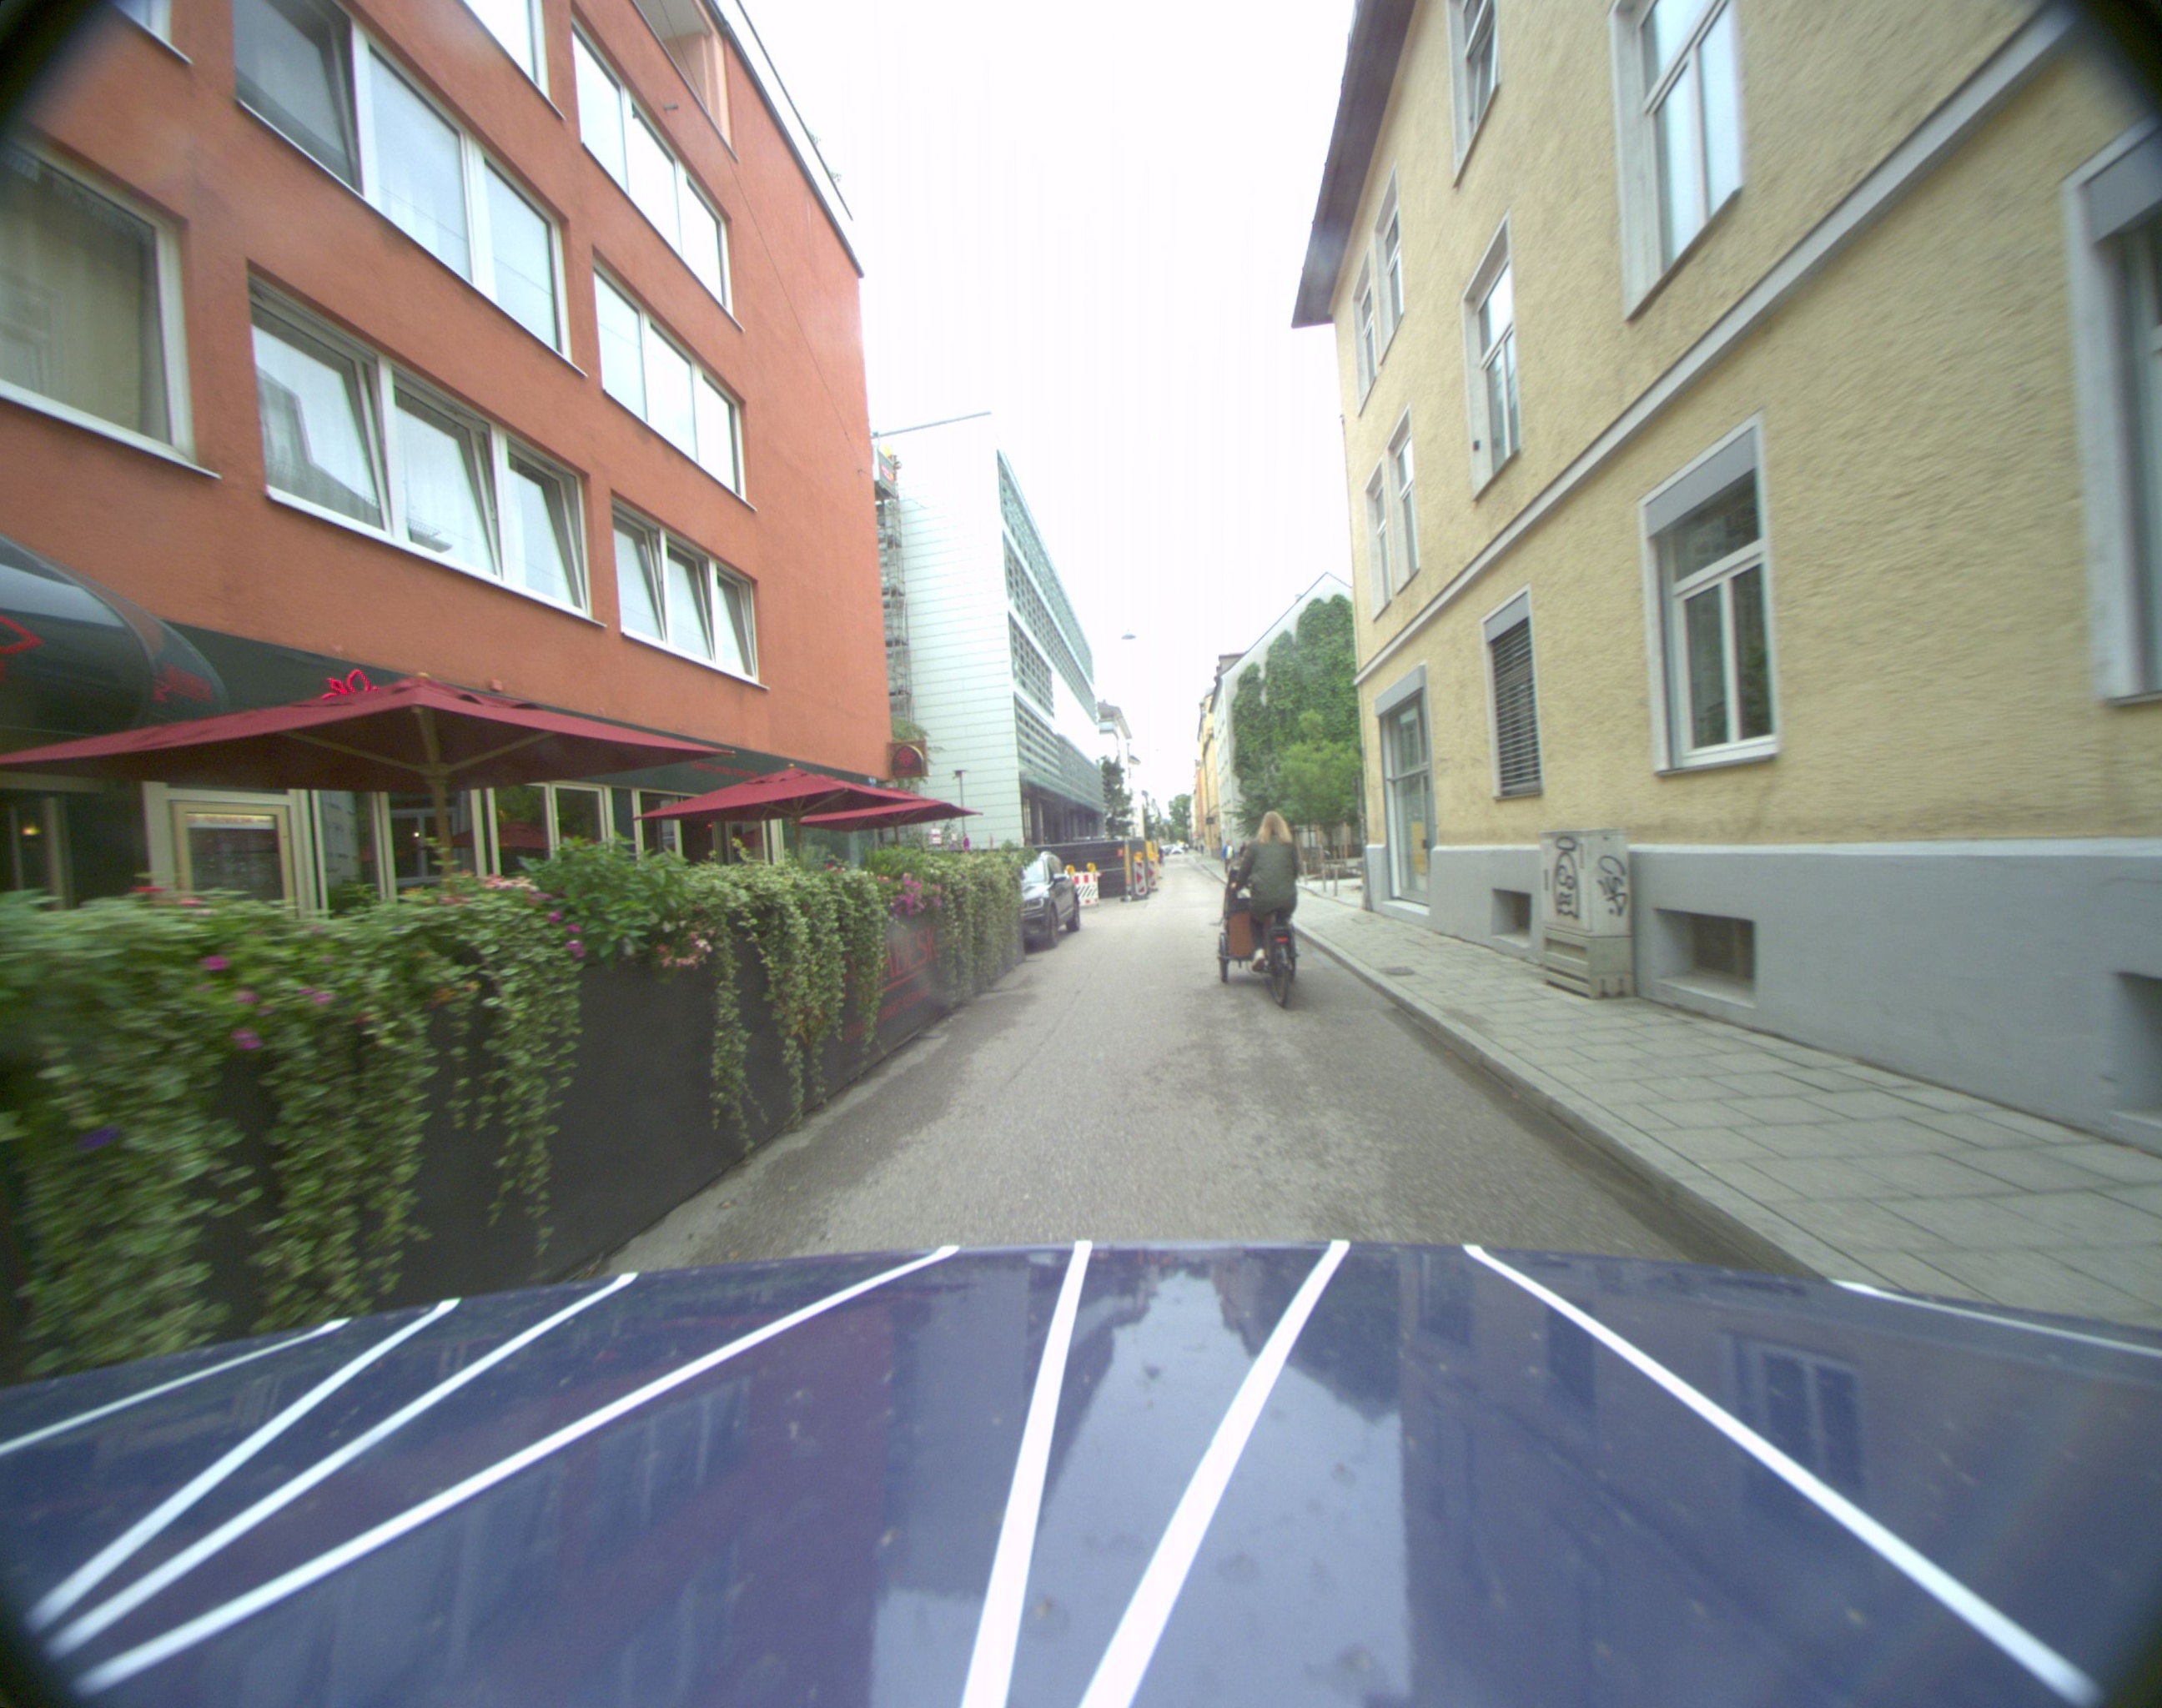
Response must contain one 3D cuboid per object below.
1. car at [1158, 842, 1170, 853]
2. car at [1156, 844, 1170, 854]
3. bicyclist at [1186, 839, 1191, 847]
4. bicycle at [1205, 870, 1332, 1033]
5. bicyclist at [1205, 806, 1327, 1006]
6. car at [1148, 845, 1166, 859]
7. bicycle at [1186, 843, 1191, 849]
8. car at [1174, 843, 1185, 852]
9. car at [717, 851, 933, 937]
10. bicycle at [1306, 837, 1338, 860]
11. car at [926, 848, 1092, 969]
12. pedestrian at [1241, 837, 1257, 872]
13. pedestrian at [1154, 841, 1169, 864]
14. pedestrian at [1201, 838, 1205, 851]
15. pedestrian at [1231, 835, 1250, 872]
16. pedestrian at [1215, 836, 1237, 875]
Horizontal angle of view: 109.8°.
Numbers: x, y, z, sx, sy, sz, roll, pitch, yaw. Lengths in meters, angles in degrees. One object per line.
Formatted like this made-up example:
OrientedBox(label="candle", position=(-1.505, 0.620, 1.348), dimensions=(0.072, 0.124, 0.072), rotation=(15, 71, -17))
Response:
OrientedBox(label="car", position=(13.580, -1.071, 124.007), dimensions=(1.792, 1.550, 4.001), rotation=(-4, 1, 7))
OrientedBox(label="car", position=(10.950, -0.663, 101.572), dimensions=(1.624, 1.259, 4.331), rotation=(-4, 1, 7))
OrientedBox(label="bicyclist", position=(19.627, -2.011, 139.145), dimensions=(0.718, 1.399, 0.966), rotation=(-4, 1, 7))
OrientedBox(label="bicycle", position=(1.780, 0.860, 7.645), dimensions=(0.934, 1.250, 2.415), rotation=(-3, 1, 8))
OrientedBox(label="bicyclist", position=(1.692, 0.453, 7.155), dimensions=(0.928, 1.711, 1.100), rotation=(-3, 1, 8))
OrientedBox(label="car", position=(8.487, -0.259, 84.785), dimensions=(1.808, 1.390, 4.001), rotation=(-4, 1, 7))
OrientedBox(label="bicycle", position=(19.711, -1.459, 139.243), dimensions=(0.700, 0.926, 1.694), rotation=(-4, 1, 7))
OrientedBox(label="car", position=(18.734, -1.261, 144.818), dimensions=(1.997, 1.583, 4.377), rotation=(-4, 1, 7))
OrientedBox(label="car", position=(-6.056, 0.922, 18.244), dimensions=(4.470, 1.710, 1.841), rotation=(-4, 1, 7))
OrientedBox(label="bicycle", position=(13.160, -0.295, 41.586), dimensions=(0.714, 1.201, 1.997), rotation=(-6, 1, -10))
OrientedBox(label="car", position=(-1.093, 0.838, 13.897), dimensions=(1.827, 1.700, 4.391), rotation=(-5, 0, 9))
OrientedBox(label="pedestrian", position=(8.167, 0.022, 37.007), dimensions=(0.553, 1.650, 0.998), rotation=(-4, 1, 7))
OrientedBox(label="pedestrian", position=(7.159, -0.121, 67.627), dimensions=(0.746, 1.891, 0.877), rotation=(-6, 1, -24))
OrientedBox(label="pedestrian", position=(17.070, -1.381, 106.414), dimensions=(0.493, 1.814, 0.553), rotation=(-4, 1, 7))
OrientedBox(label="pedestrian", position=(8.060, -0.030, 38.421), dimensions=(0.777, 1.826, 0.992), rotation=(-4, 1, 7))
OrientedBox(label="pedestrian", position=(7.240, 0.064, 37.985), dimensions=(0.860, 1.834, 0.974), rotation=(-5, 1, 9))
